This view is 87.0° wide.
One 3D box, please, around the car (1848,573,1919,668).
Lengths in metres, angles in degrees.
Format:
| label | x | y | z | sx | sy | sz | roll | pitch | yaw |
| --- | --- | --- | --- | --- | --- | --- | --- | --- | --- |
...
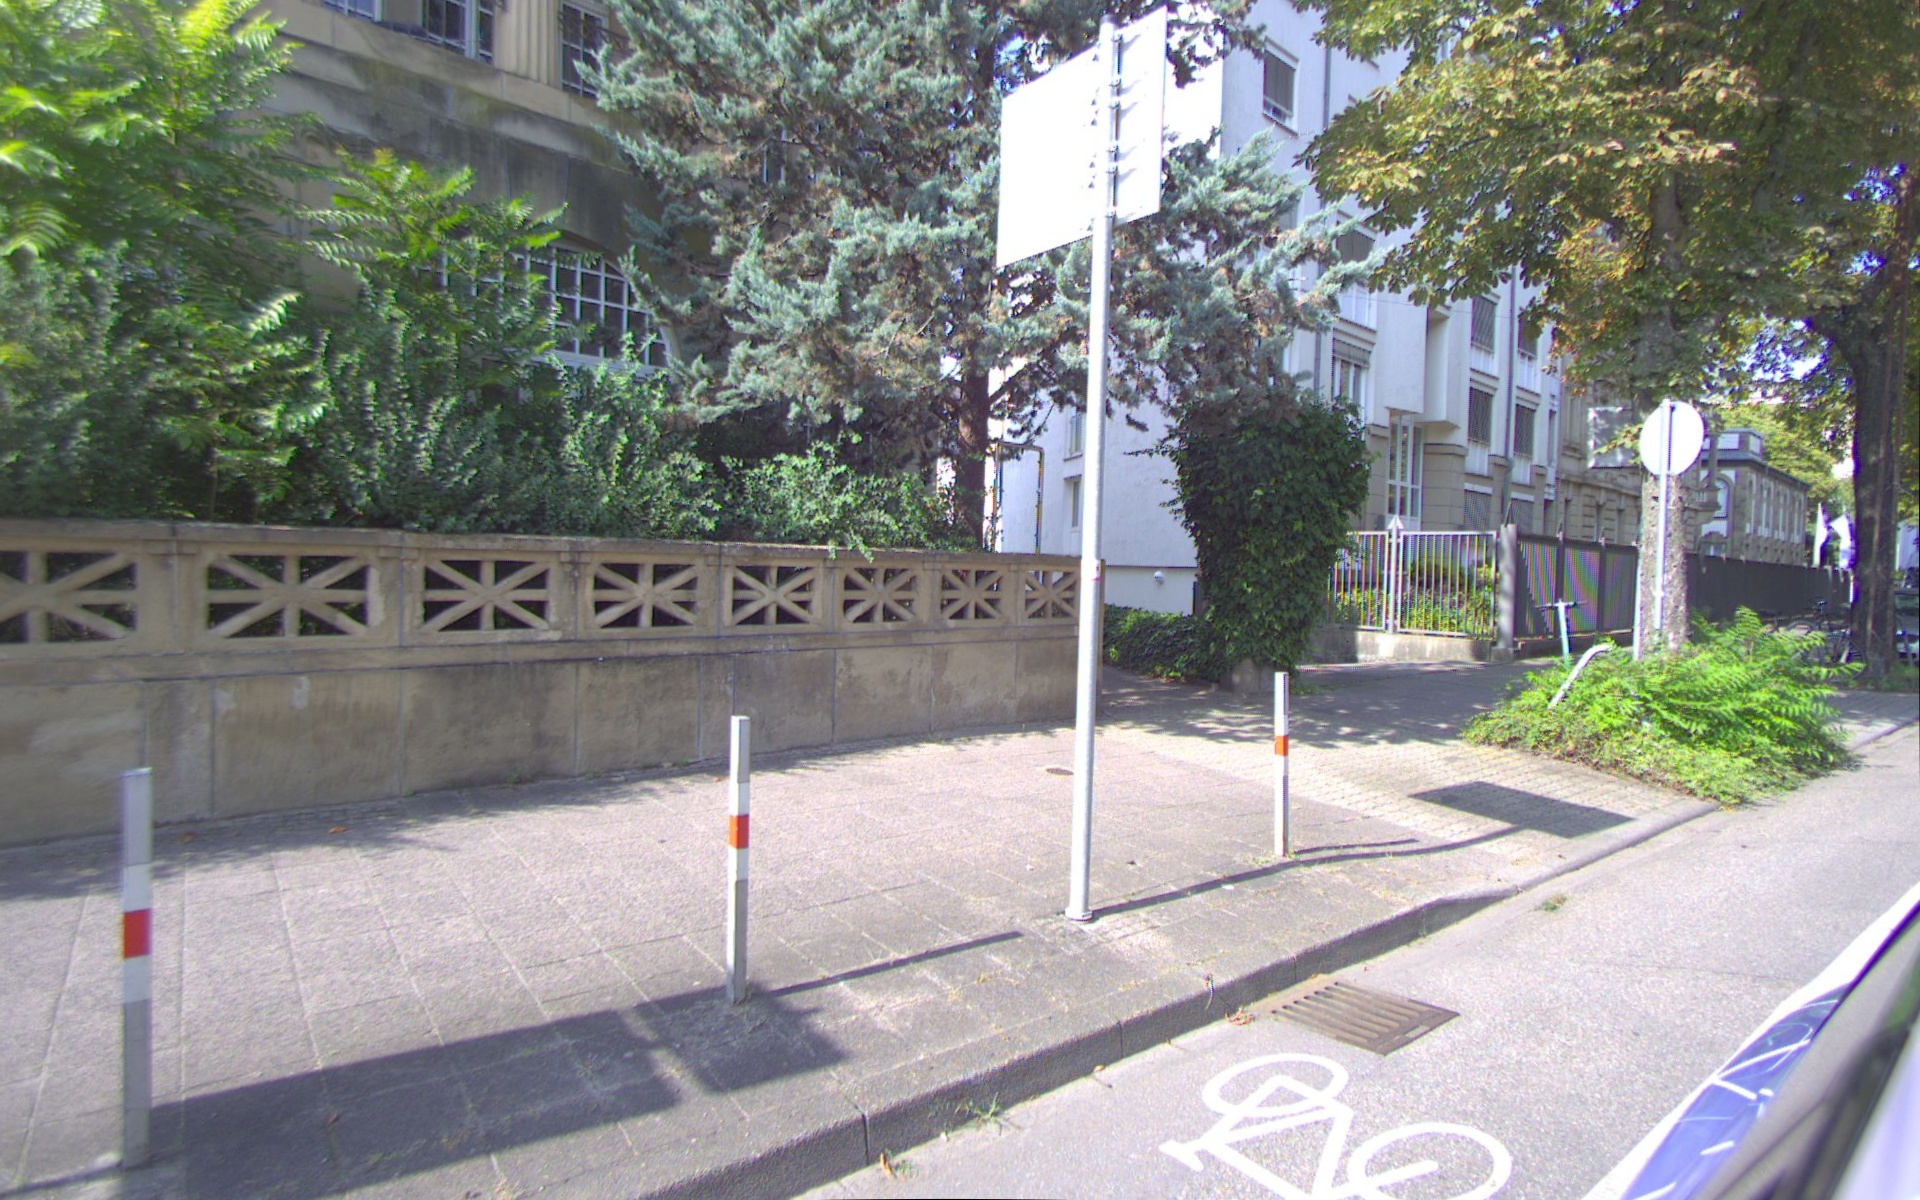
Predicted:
| label | x | y | z | sx | sy | sz | roll | pitch | yaw |
| --- | --- | --- | --- | --- | --- | --- | --- | --- | --- |
| car | 17.957 | 0.360 | 18.783 | 4.282 | 1.541 | 1.610 | -1 | 6 | -42 |

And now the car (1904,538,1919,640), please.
| label | x | y | z | sx | sy | sz | roll | pitch | yaw |
| --- | --- | --- | --- | --- | --- | --- | --- | --- | --- |
| car | 26.552 | -0.246 | 26.481 | 6.121 | 2.529 | 2.050 | 0 | 3 | -42 |

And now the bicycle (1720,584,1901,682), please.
| label | x | y | z | sx | sy | sz | roll | pitch | yaw |
| --- | --- | --- | --- | --- | --- | --- | --- | --- | --- |
| bicycle | 11.911 | 0.448 | 14.223 | 1.812 | 1.179 | 0.504 | 4 | 8 | 9 |

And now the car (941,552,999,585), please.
| label | x | y | z | sx | sy | sz | roll | pitch | yaw |
| --- | --- | --- | --- | --- | --- | --- | --- | --- | --- |
| car | 0.454 | -1.628 | 51.343 | 1.797 | 1.585 | 4.010 | 1 | 2 | -17 |

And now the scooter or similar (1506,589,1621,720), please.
| label | x | y | z | sx | sy | sz | roll | pitch | yaw |
| --- | --- | --- | --- | --- | --- | --- | --- | --- | --- |
| scooter or similar | 6.068 | 0.516 | 10.174 | 1.015 | 1.211 | 0.560 | 0 | 5 | -36 |
